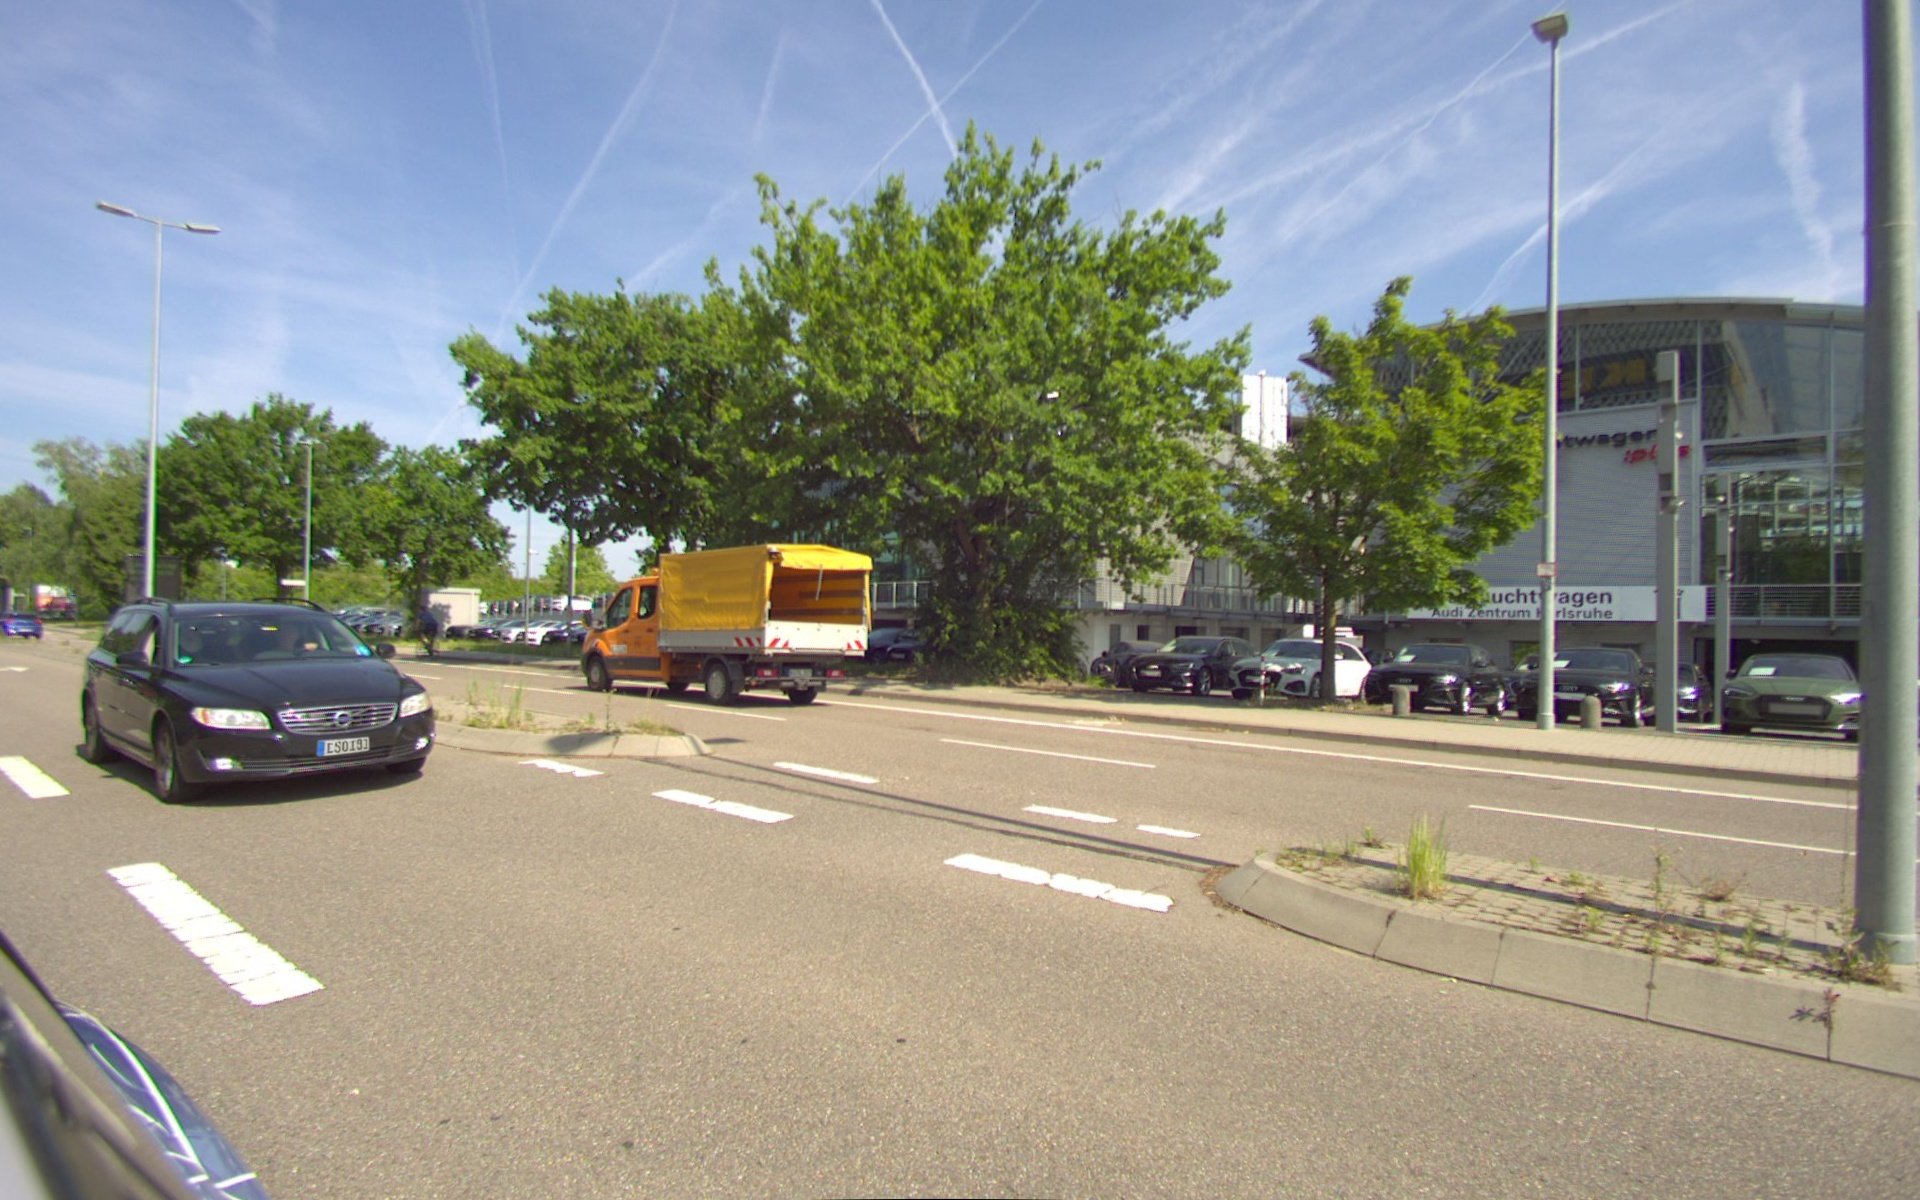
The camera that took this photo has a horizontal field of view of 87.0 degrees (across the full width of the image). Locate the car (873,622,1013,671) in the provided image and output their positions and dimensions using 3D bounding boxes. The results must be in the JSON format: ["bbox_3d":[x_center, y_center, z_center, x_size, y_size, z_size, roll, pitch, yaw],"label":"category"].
[{"bbox_3d":[-0.438,1.408,30.188,1.796,1.236,4.141,-1,-5,42],"label":"car"}]

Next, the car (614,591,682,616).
[{"bbox_3d":[-21.589,0.265,70.095,1.690,1.416,4.141,-1,-5,42],"label":"car"}]

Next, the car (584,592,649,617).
[{"bbox_3d":[-25.130,0.361,74.196,1.690,1.510,4.141,-1,-5,42],"label":"car"}]

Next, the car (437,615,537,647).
[{"bbox_3d":[-23.711,1.575,50.856,1.690,1.333,4.141,-1,-5,42],"label":"car"}]

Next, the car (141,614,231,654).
[{"bbox_3d":[-31.219,1.355,40.765,4.660,1.471,1.828,-1,-4,40],"label":"car"}]

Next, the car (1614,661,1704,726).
[{"bbox_3d":[18.290,2.384,26.431,1.588,1.484,3.471,-1,-2,41],"label":"car"}]

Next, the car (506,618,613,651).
[{"bbox_3d":[-18.116,1.587,45.903,1.690,1.265,4.141,-1,-5,42],"label":"car"}]

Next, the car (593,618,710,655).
[{"bbox_3d":[-12.257,1.483,40.422,1.690,1.264,4.141,-1,-5,42],"label":"car"}]

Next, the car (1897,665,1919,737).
[{"bbox_3d":[22.316,2.260,22.834,1.522,1.484,3.472,-1,-2,40],"label":"car"}]

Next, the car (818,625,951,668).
[{"bbox_3d":[-2.311,1.483,31.916,1.695,1.143,4.141,-1,-5,42],"label":"car"}]

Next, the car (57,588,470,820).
[{"bbox_3d":[-6.368,0.707,8.992,4.866,1.533,1.858,-1,0,41],"label":"car"}]

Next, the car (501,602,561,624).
[{"bbox_3d":[-34.767,1.043,82.089,1.690,1.510,4.141,-1,-5,42],"label":"car"}]

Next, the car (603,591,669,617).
[{"bbox_3d":[-23.138,0.312,72.323,1.690,1.510,4.141,-1,-5,42],"label":"car"}]

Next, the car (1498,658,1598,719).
[{"bbox_3d":[16.500,2.411,28.324,1.690,1.484,3.776,-1,-2,42],"label":"car"}]

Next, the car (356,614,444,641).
[{"bbox_3d":[-32.677,1.632,59.109,1.690,1.333,4.141,-1,-5,42],"label":"car"}]

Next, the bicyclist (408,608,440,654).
[{"bbox_3d":[-17.787,1.019,33.586,1.144,1.494,0.564,-1,-2,44],"label":"bicyclist"}]

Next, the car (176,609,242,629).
[{"bbox_3d":[-62.794,1.632,84.668,1.690,1.389,4.141,-1,-5,42],"label":"car"}]

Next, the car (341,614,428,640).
[{"bbox_3d":[-34.383,1.637,60.520,1.690,1.333,4.141,-1,-5,42],"label":"car"}]

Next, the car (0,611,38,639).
[{"bbox_3d":[-52.527,1.382,55.980,3.867,1.449,1.710,-1,-4,41],"label":"car"}]

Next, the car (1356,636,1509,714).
[{"bbox_3d":[9.543,1.520,20.264,1.833,1.365,4.069,0,-5,39],"label":"car"}]

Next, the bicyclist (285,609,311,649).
[{"bbox_3d":[-27.209,1.201,41.597,0.909,1.608,0.571,0,-3,37],"label":"bicyclist"}]

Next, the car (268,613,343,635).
[{"bbox_3d":[-46.272,1.717,71.597,1.690,1.333,4.141,-1,-5,42],"label":"car"}]

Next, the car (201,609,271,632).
[{"bbox_3d":[-56.898,1.617,79.590,1.690,1.510,4.141,-1,-5,42],"label":"car"}]

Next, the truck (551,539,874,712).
[{"bbox_3d":[-4.735,0.488,18.520,6.672,2.645,2.349,-1,-4,42],"label":"truck"}]

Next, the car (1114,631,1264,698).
[{"bbox_3d":[5.465,1.545,23.837,1.808,1.412,3.983,0,-5,40],"label":"car"}]

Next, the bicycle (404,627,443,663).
[{"bbox_3d":[-17.844,1.492,33.628,1.925,1.159,0.565,-1,-2,44],"label":"bicycle"}]

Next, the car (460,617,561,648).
[{"bbox_3d":[-21.823,1.602,49.266,1.690,1.256,4.141,-1,-5,42],"label":"car"}]

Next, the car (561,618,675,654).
[{"bbox_3d":[-14.230,1.523,42.260,1.690,1.269,4.141,-1,-5,42],"label":"car"}]

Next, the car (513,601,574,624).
[{"bbox_3d":[-33.099,0.987,80.519,1.690,1.510,4.141,-1,-5,42],"label":"car"}]

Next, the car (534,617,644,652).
[{"bbox_3d":[-16.129,1.528,44.094,1.690,1.309,4.141,-1,-5,42],"label":"car"}]

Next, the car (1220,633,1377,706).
[{"bbox_3d":[7.444,1.546,22.015,1.801,1.405,4.172,0,-5,40],"label":"car"}]

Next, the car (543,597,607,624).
[{"bbox_3d":[-29.337,0.795,77.243,1.690,1.745,4.141,-1,-5,42],"label":"car"}]

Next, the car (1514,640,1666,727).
[{"bbox_3d":[11.612,1.534,18.524,1.828,1.365,4.237,0,-5,39],"label":"car"}]

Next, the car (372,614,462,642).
[{"bbox_3d":[-30.770,1.600,57.424,1.690,1.333,4.141,-1,-5,42],"label":"car"}]

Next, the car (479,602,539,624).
[{"bbox_3d":[-37.560,1.089,84.314,1.690,1.510,4.141,-1,-5,42],"label":"car"}]

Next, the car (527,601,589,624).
[{"bbox_3d":[-31.336,0.959,78.990,1.690,1.510,4.141,-1,-5,42],"label":"car"}]

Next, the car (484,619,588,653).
[{"bbox_3d":[-19.877,1.698,47.542,1.690,1.335,4.141,-1,-5,42],"label":"car"}]

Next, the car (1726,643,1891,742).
[{"bbox_3d":[13.805,1.494,16.512,1.853,1.345,4.132,0,-5,40],"label":"car"}]

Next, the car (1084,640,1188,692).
[{"bbox_3d":[4.912,1.828,28.780,1.662,1.343,3.848,1,-2,-11],"label":"car"}]
